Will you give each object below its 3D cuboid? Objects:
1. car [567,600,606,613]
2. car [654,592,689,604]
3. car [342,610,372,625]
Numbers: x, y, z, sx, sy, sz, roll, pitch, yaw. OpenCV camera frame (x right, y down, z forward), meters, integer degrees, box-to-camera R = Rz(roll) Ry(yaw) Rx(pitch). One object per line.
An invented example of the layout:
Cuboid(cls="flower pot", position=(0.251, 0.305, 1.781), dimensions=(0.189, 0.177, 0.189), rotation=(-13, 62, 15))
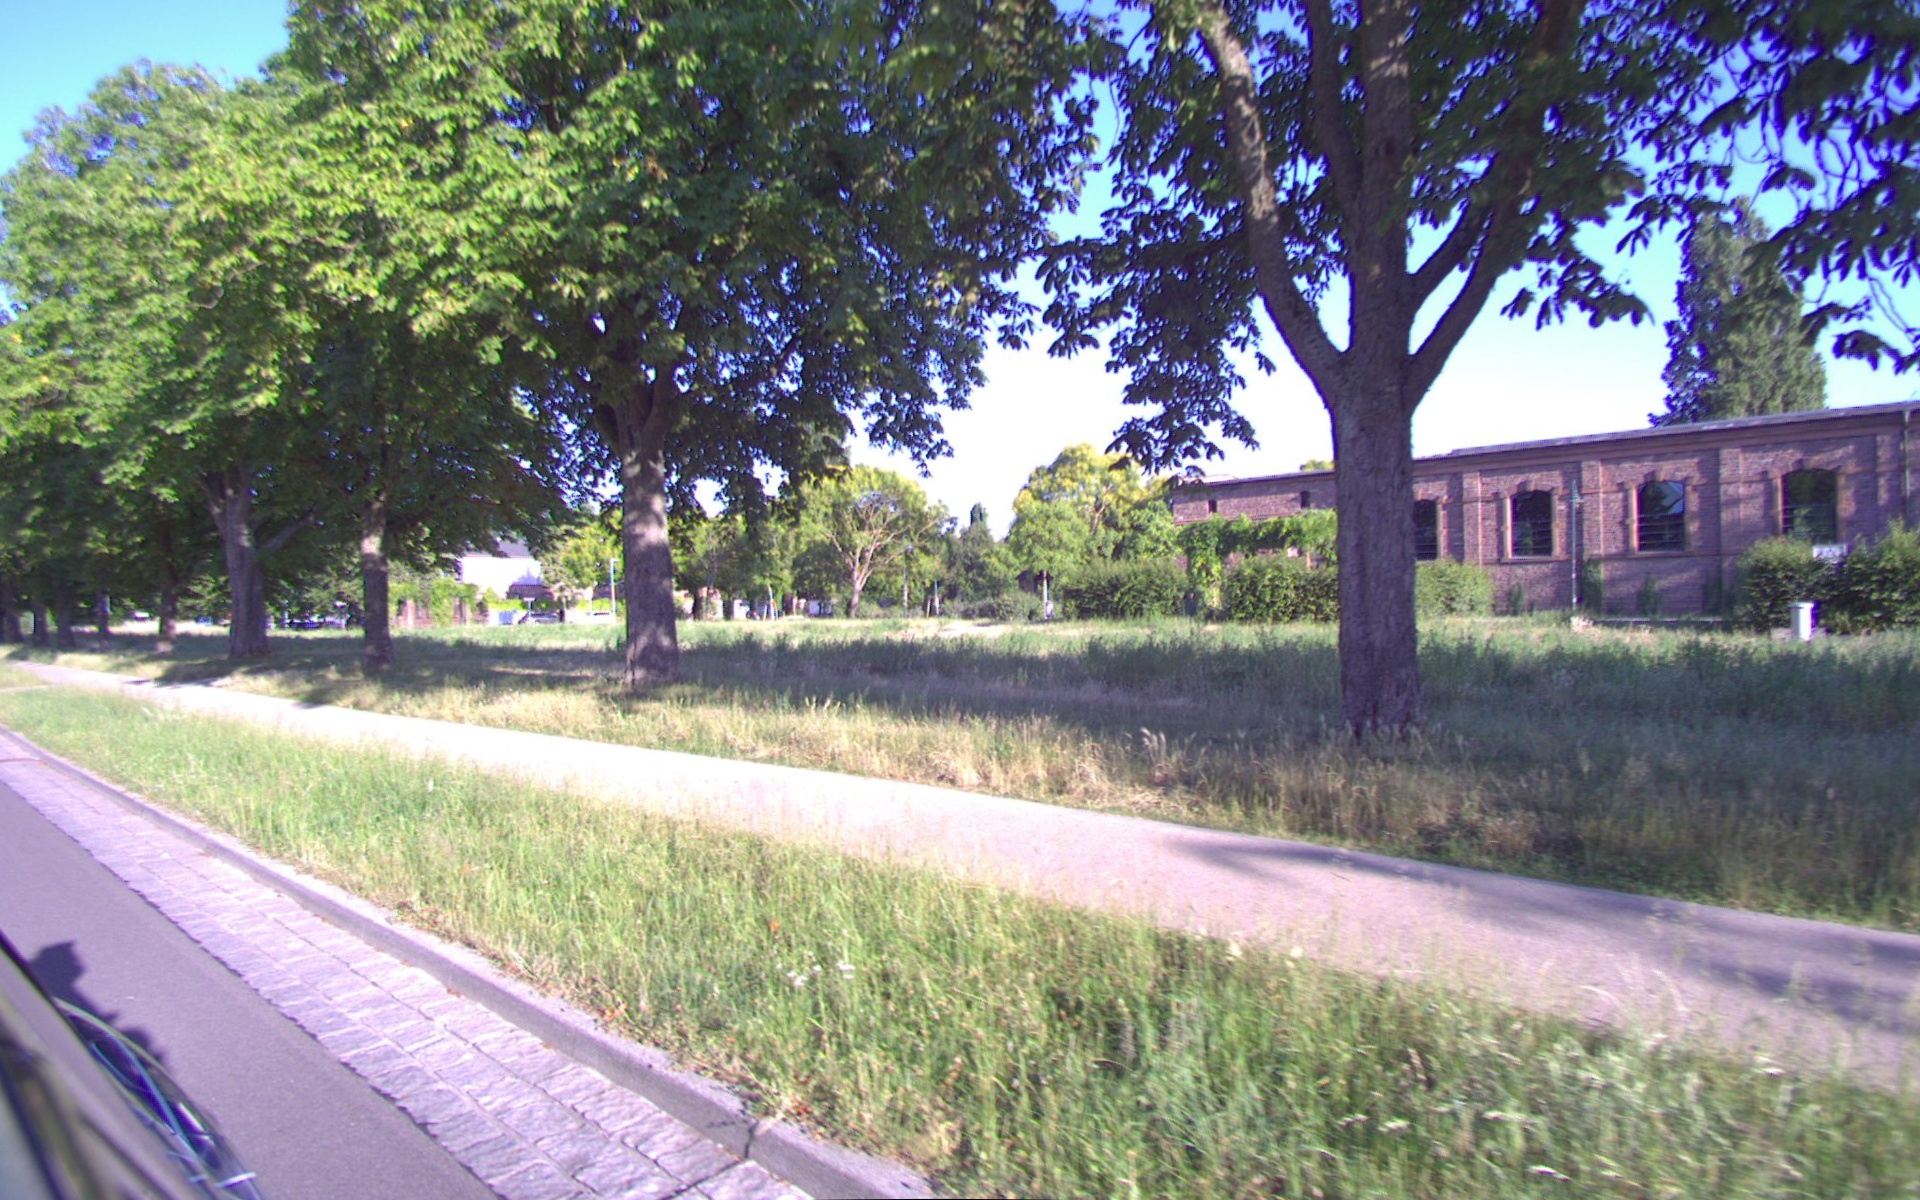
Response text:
Cuboid(cls="car", position=(-40.530, 0.713, 109.923), dimensions=(1.586, 1.289, 3.589), rotation=(-1, 2, 42))
Cuboid(cls="car", position=(-33.792, -0.205, 118.696), dimensions=(1.586, 1.289, 3.589), rotation=(-1, 2, 42))
Cuboid(cls="car", position=(-60.251, 1.736, 101.156), dimensions=(3.639, 1.492, 1.564), rotation=(-1, 2, 42))
